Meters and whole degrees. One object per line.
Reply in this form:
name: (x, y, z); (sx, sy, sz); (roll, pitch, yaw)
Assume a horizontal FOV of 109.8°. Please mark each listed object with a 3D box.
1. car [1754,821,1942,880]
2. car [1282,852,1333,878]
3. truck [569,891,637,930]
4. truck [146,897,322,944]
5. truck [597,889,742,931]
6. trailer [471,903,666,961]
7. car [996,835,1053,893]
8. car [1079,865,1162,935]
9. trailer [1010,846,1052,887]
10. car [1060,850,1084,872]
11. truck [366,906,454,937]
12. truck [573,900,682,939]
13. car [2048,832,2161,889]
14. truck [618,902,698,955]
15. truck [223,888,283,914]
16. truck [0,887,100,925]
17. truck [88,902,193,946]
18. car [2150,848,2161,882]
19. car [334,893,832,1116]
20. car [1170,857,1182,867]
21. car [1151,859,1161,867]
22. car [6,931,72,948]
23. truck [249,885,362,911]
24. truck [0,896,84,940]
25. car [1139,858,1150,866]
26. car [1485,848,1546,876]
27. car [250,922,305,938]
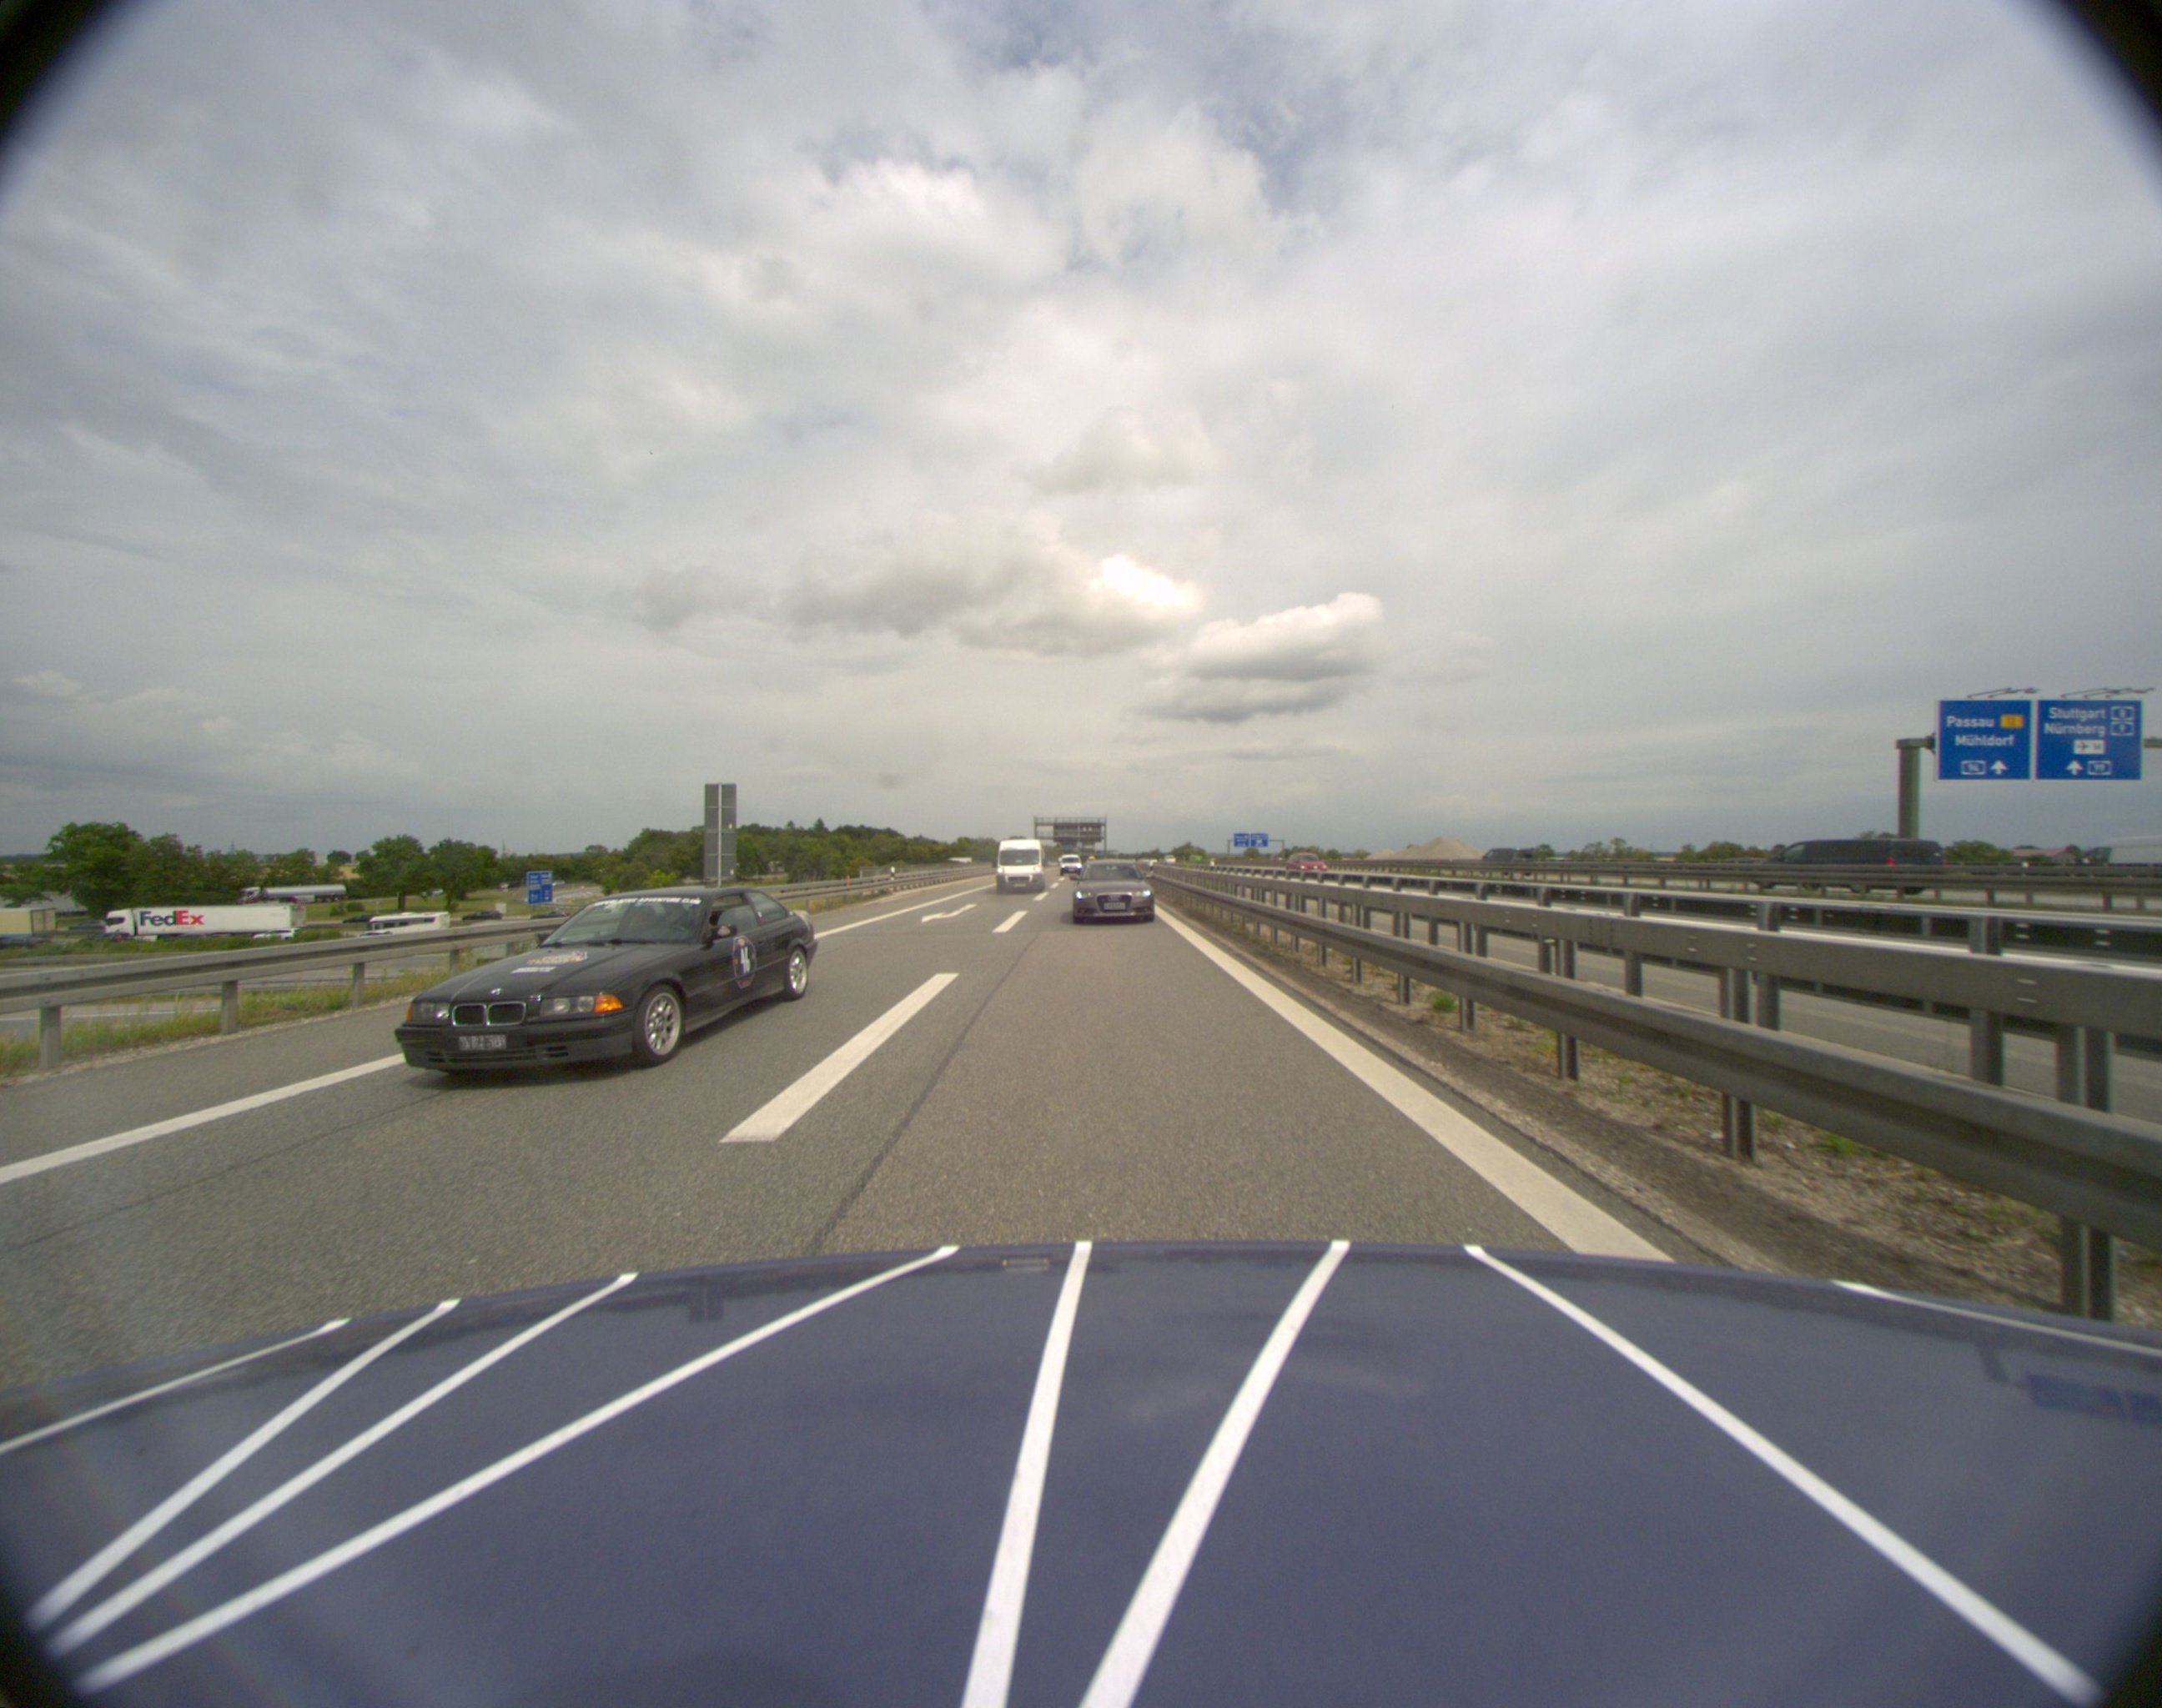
car: (26.625, -0.125, 26.676); (1.746, 1.797, 4.902); (-3, 0, 3)
car: (14.378, 0.717, 48.473); (1.824, 1.536, 4.355); (-2, -1, -1)
truck: (-62.037, 7.271, 98.750); (6.295, 4.647, 3.928); (-2, 0, -12)
truck: (-98.704, 7.686, 88.953); (13.797, 4.527, 4.004); (-1, 0, -14)
truck: (-54.049, 7.293, 100.392); (16.178, 4.672, 3.990); (-1, 0, -12)
trailer: (-44.904, 6.794, 67.166); (13.958, 4.261, 3.128); (-1, 0, -13)
car: (-2.532, 0.474, 35.563); (2.119, 2.439, 6.152); (-2, -1, 0)
car: (0.880, 1.017, 18.353); (1.747, 1.380, 4.000); (-1, 0, 1)
trailer: (-2.619, 0.662, 40.904); (1.859, 2.001, 4.632); (-2, -1, 0)
car: (-0.821, 0.621, 66.028); (1.846, 1.870, 4.288); (-2, -1, -4)
truck: (-78.706, 7.904, 89.254); (7.570, 3.178, 2.230); (-1, 0, -14)
truck: (-55.148, 7.965, 92.757); (10.790, 4.047, 3.237); (-1, 0, -17)
car: (45.015, 0.254, 32.312); (1.998, 2.292, 4.491); (-2, -1, 0)
truck: (-38.173, 6.669, 68.786); (5.616, 4.261, 3.128); (-1, 0, -13)
truck: (-147.627, 8.289, 135.516); (3.155, 4.162, 6.453); (-2, 0, 22)
truck: (-160.335, 7.957, 114.722); (3.851, 5.183, 14.888); (-2, -1, 38)
truck: (-107.228, 7.898, 86.772); (6.296, 4.484, 3.928); (-2, 0, -14)
car: (49.213, 0.452, 32.406); (1.670, 1.487, 3.910); (-4, 0, 0)
car: (-4.022, 1.109, 7.215); (1.708, 1.273, 4.367); (-2, -1, 2)
car: (20.009, 1.623, 160.768); (1.998, 2.001, 4.466); (-2, -1, 1)
car: (19.489, 2.375, 197.547); (1.999, 1.870, 4.000); (-2, -1, -2)
car: (-112.062, 9.168, 81.730); (4.001, 1.477, 1.736); (-1, 0, -13)
truck: (-144.890, 8.192, 142.488); (3.079, 4.065, 14.756); (-2, -1, 21)
truck: (-122.415, 7.290, 83.645); (16.372, 4.527, 4.004); (-1, 0, -14)
car: (15.166, 1.906, 181.303); (1.999, 1.739, 4.000); (-2, -1, -2)
car: (31.199, 0.589, 54.650); (1.911, 1.805, 4.223); (-3, -1, 0)
car: (-91.142, 8.645, 86.248); (4.002, 1.546, 1.671); (-1, 0, -14)
